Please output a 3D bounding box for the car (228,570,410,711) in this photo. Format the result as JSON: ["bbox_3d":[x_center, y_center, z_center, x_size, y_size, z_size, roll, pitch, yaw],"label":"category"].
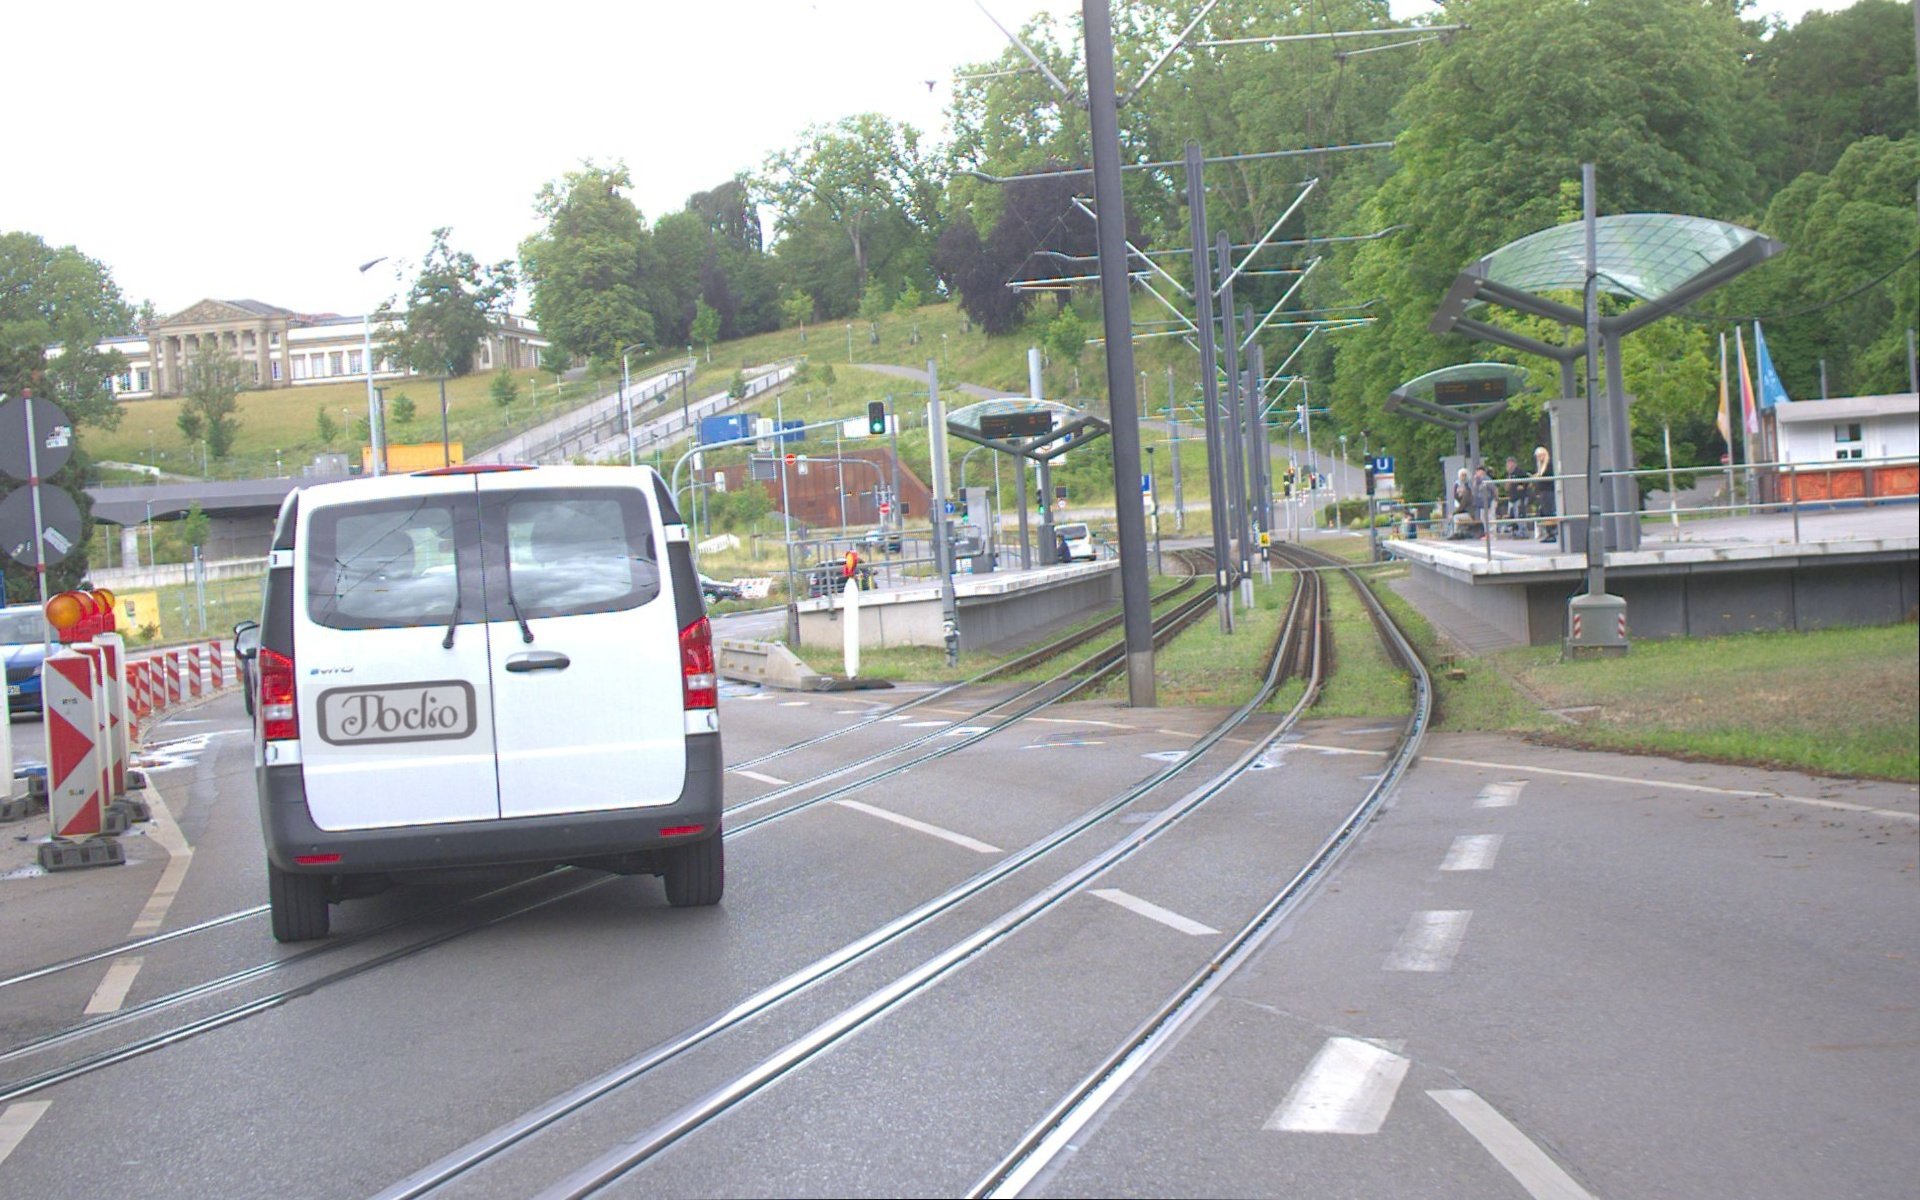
[{"bbox_3d":[-7.818,0.453,42.221,1.838,1.577,4.063,-2,1,-6],"label":"car"}]

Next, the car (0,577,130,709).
[{"bbox_3d":[-11.951,0.547,44.017,1.695,1.456,3.913,-5,2,-1],"label":"car"}]

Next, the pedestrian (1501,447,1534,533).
[{"bbox_3d":[12.039,-2.366,74.267,0.633,1.832,0.950,-2,1,8],"label":"pedestrian"}]

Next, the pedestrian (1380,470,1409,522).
[{"bbox_3d":[11.174,-2.675,88.484,0.673,1.319,0.968,-2,1,5],"label":"pedestrian"}]

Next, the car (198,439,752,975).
[{"bbox_3d":[-2.201,0.378,15.251,1.959,1.897,4.462,-4,1,-10],"label":"car"}]

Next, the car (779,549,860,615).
[{"bbox_3d":[-3.983,-0.527,97.987,1.993,1.766,4.000,-2,1,2],"label":"car"}]

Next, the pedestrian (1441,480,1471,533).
[{"bbox_3d":[11.379,-2.142,78.901,0.657,1.187,0.675,-2,1,8],"label":"pedestrian"}]

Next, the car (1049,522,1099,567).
[{"bbox_3d":[5.410,-2.634,164.282,2.200,2.007,5.151,-3,1,1],"label":"car"}]

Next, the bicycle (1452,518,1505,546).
[{"bbox_3d":[19.653,-2.590,130.347,1.913,0.892,0.530,-4,1,7],"label":"bicycle"}]

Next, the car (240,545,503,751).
[{"bbox_3d":[-5.383,0.392,31.902,1.838,1.723,4.063,-2,1,-2],"label":"car"}]

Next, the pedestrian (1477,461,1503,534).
[{"bbox_3d":[11.883,-2.304,77.108,0.524,1.614,0.675,-2,0,8],"label":"pedestrian"}]

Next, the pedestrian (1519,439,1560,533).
[{"bbox_3d":[10.523,-2.062,62.473,0.633,1.681,0.866,-2,1,6],"label":"pedestrian"}]

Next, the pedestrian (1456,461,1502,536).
[{"bbox_3d":[11.807,-2.314,78.217,0.860,1.671,0.762,-2,0,-4],"label":"pedestrian"}]
